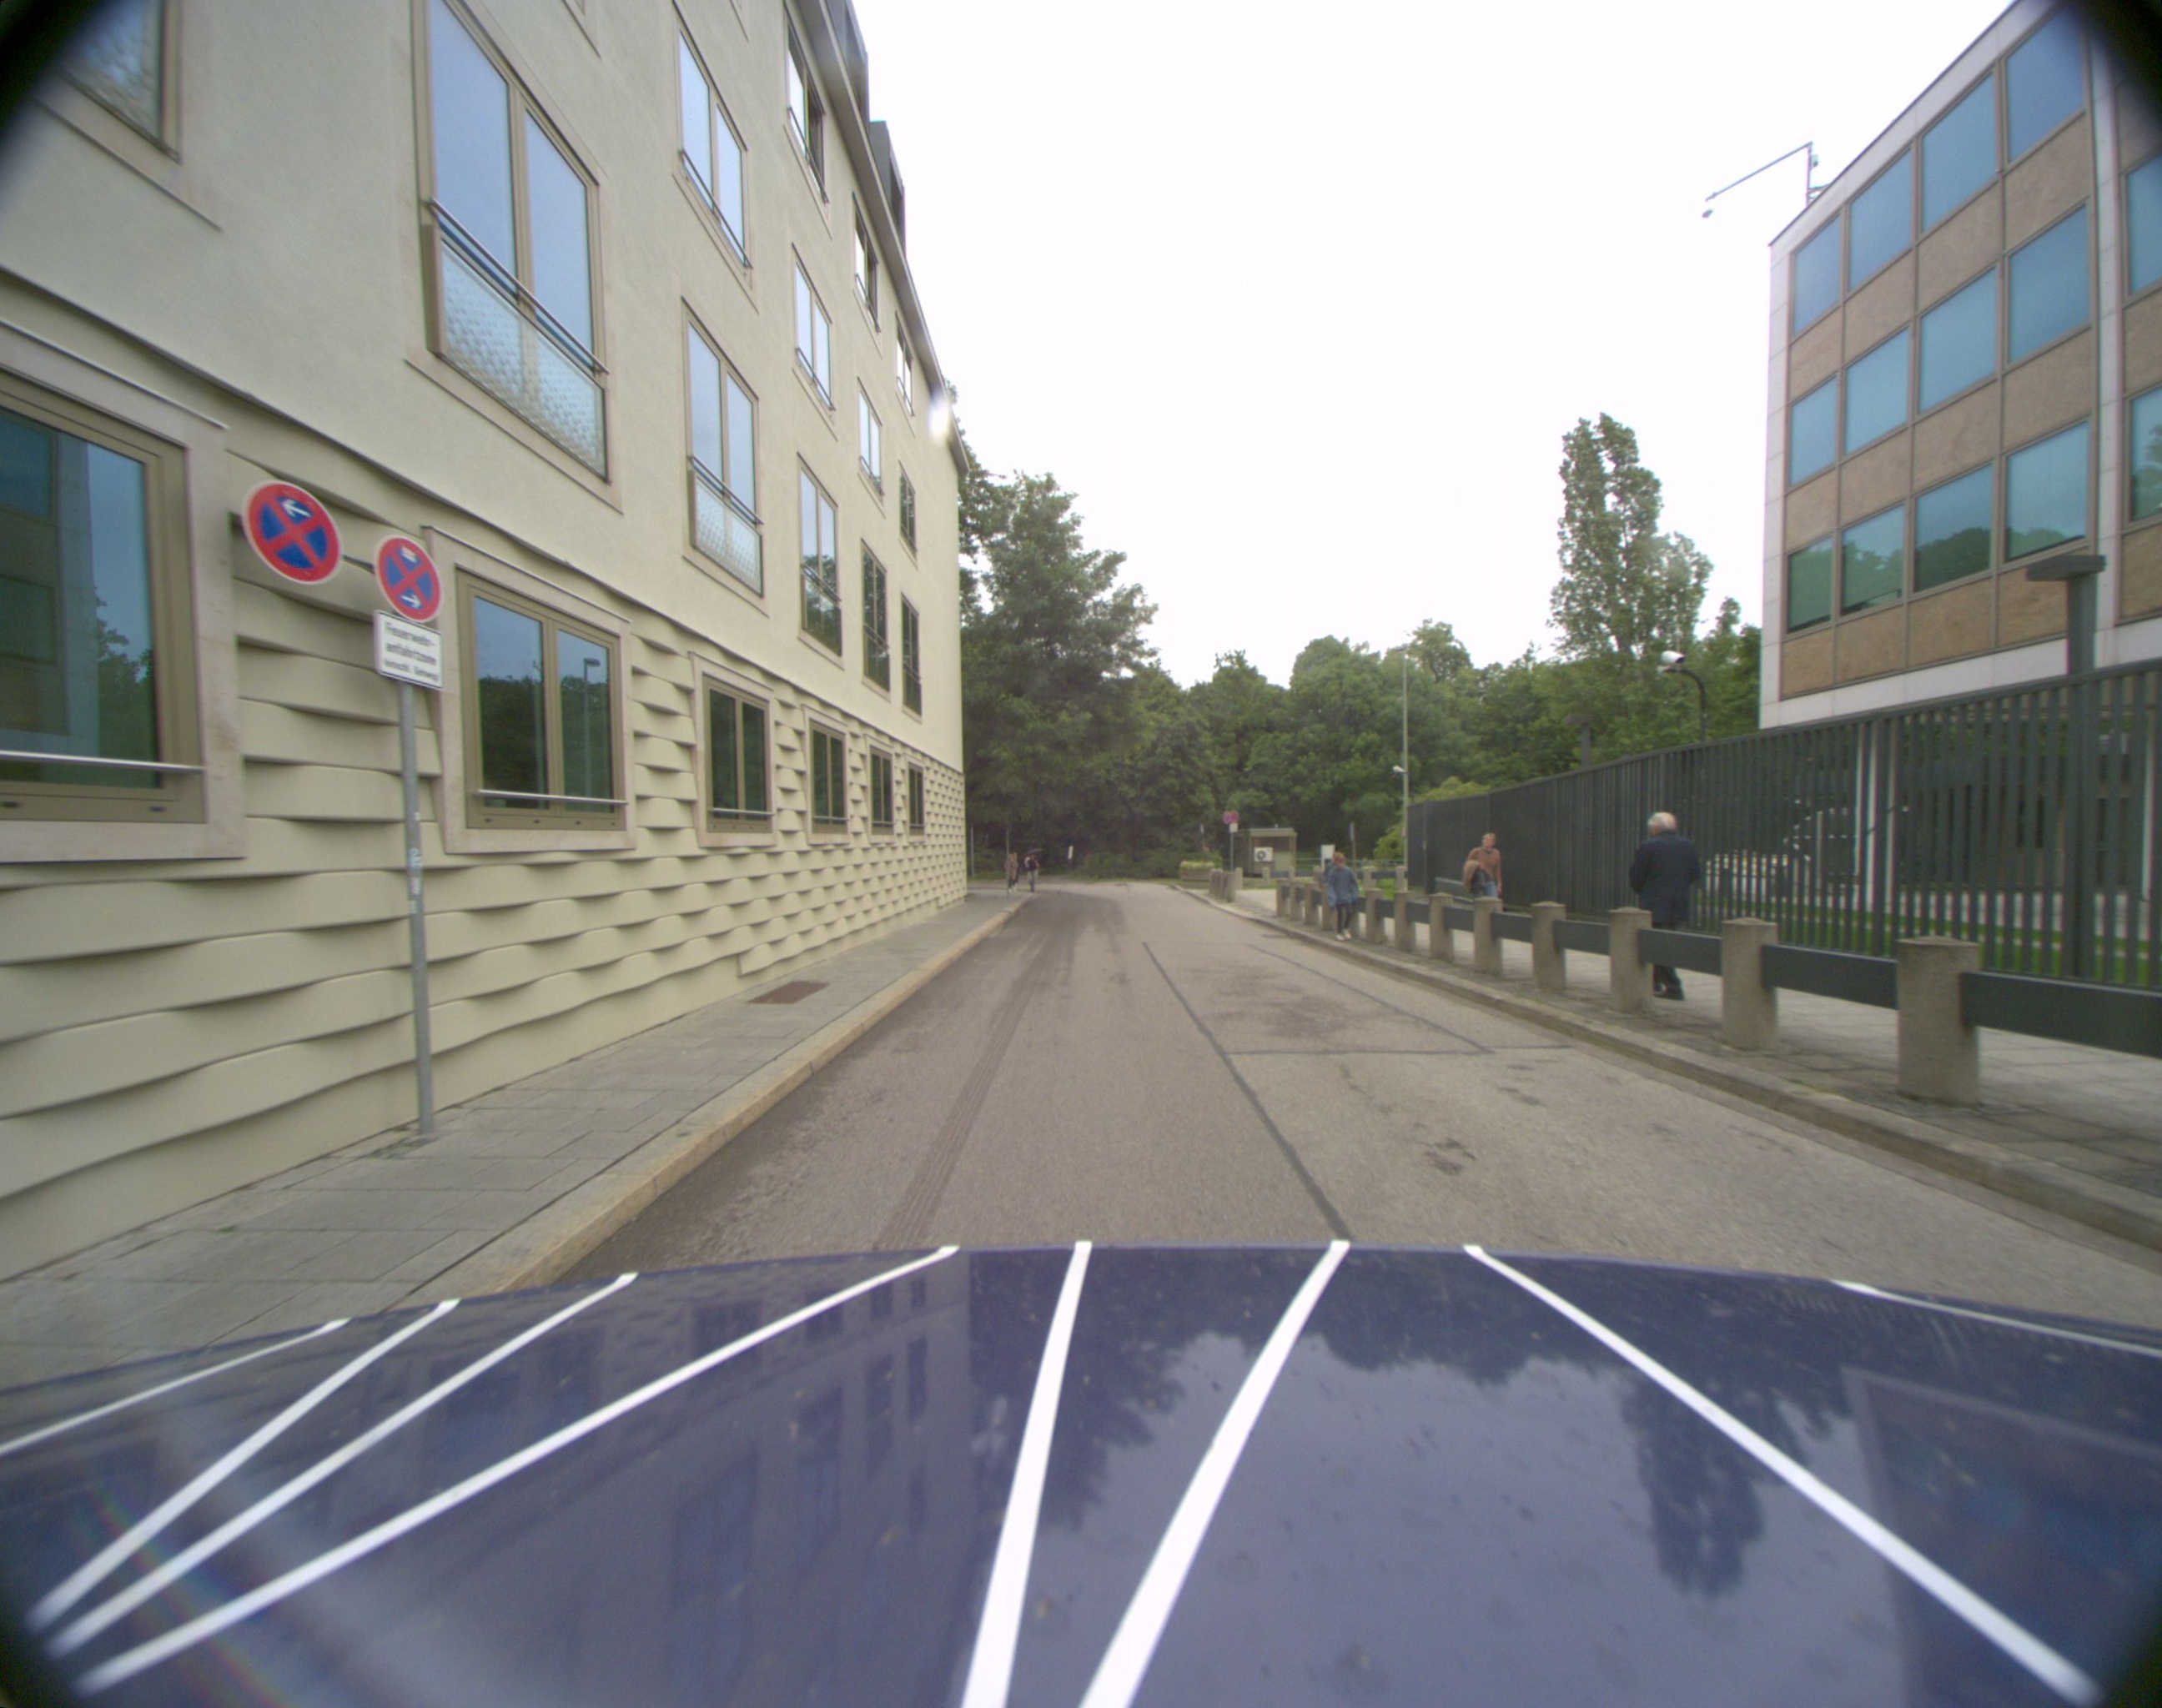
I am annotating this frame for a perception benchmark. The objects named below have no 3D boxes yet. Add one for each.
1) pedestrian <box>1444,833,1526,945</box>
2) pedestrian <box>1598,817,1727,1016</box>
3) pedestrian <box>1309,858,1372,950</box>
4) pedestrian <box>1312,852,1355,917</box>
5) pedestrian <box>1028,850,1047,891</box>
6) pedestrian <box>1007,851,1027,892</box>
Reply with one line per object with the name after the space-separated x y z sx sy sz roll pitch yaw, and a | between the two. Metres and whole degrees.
6.555 0.547 12.378 0.826 1.713 0.906 -3 1 6 | pedestrian
5.429 0.554 7.136 0.625 1.758 0.766 -1 1 0 | pedestrian
4.380 0.815 12.887 0.640 1.459 1.079 -3 1 1 | pedestrian
6.229 0.740 18.773 0.778 1.531 0.933 -3 1 8 | pedestrian
-1.848 0.697 32.708 0.753 1.726 0.853 -1 1 -1 | pedestrian
-2.696 0.730 32.212 0.753 1.671 0.655 -1 1 -1 | pedestrian
